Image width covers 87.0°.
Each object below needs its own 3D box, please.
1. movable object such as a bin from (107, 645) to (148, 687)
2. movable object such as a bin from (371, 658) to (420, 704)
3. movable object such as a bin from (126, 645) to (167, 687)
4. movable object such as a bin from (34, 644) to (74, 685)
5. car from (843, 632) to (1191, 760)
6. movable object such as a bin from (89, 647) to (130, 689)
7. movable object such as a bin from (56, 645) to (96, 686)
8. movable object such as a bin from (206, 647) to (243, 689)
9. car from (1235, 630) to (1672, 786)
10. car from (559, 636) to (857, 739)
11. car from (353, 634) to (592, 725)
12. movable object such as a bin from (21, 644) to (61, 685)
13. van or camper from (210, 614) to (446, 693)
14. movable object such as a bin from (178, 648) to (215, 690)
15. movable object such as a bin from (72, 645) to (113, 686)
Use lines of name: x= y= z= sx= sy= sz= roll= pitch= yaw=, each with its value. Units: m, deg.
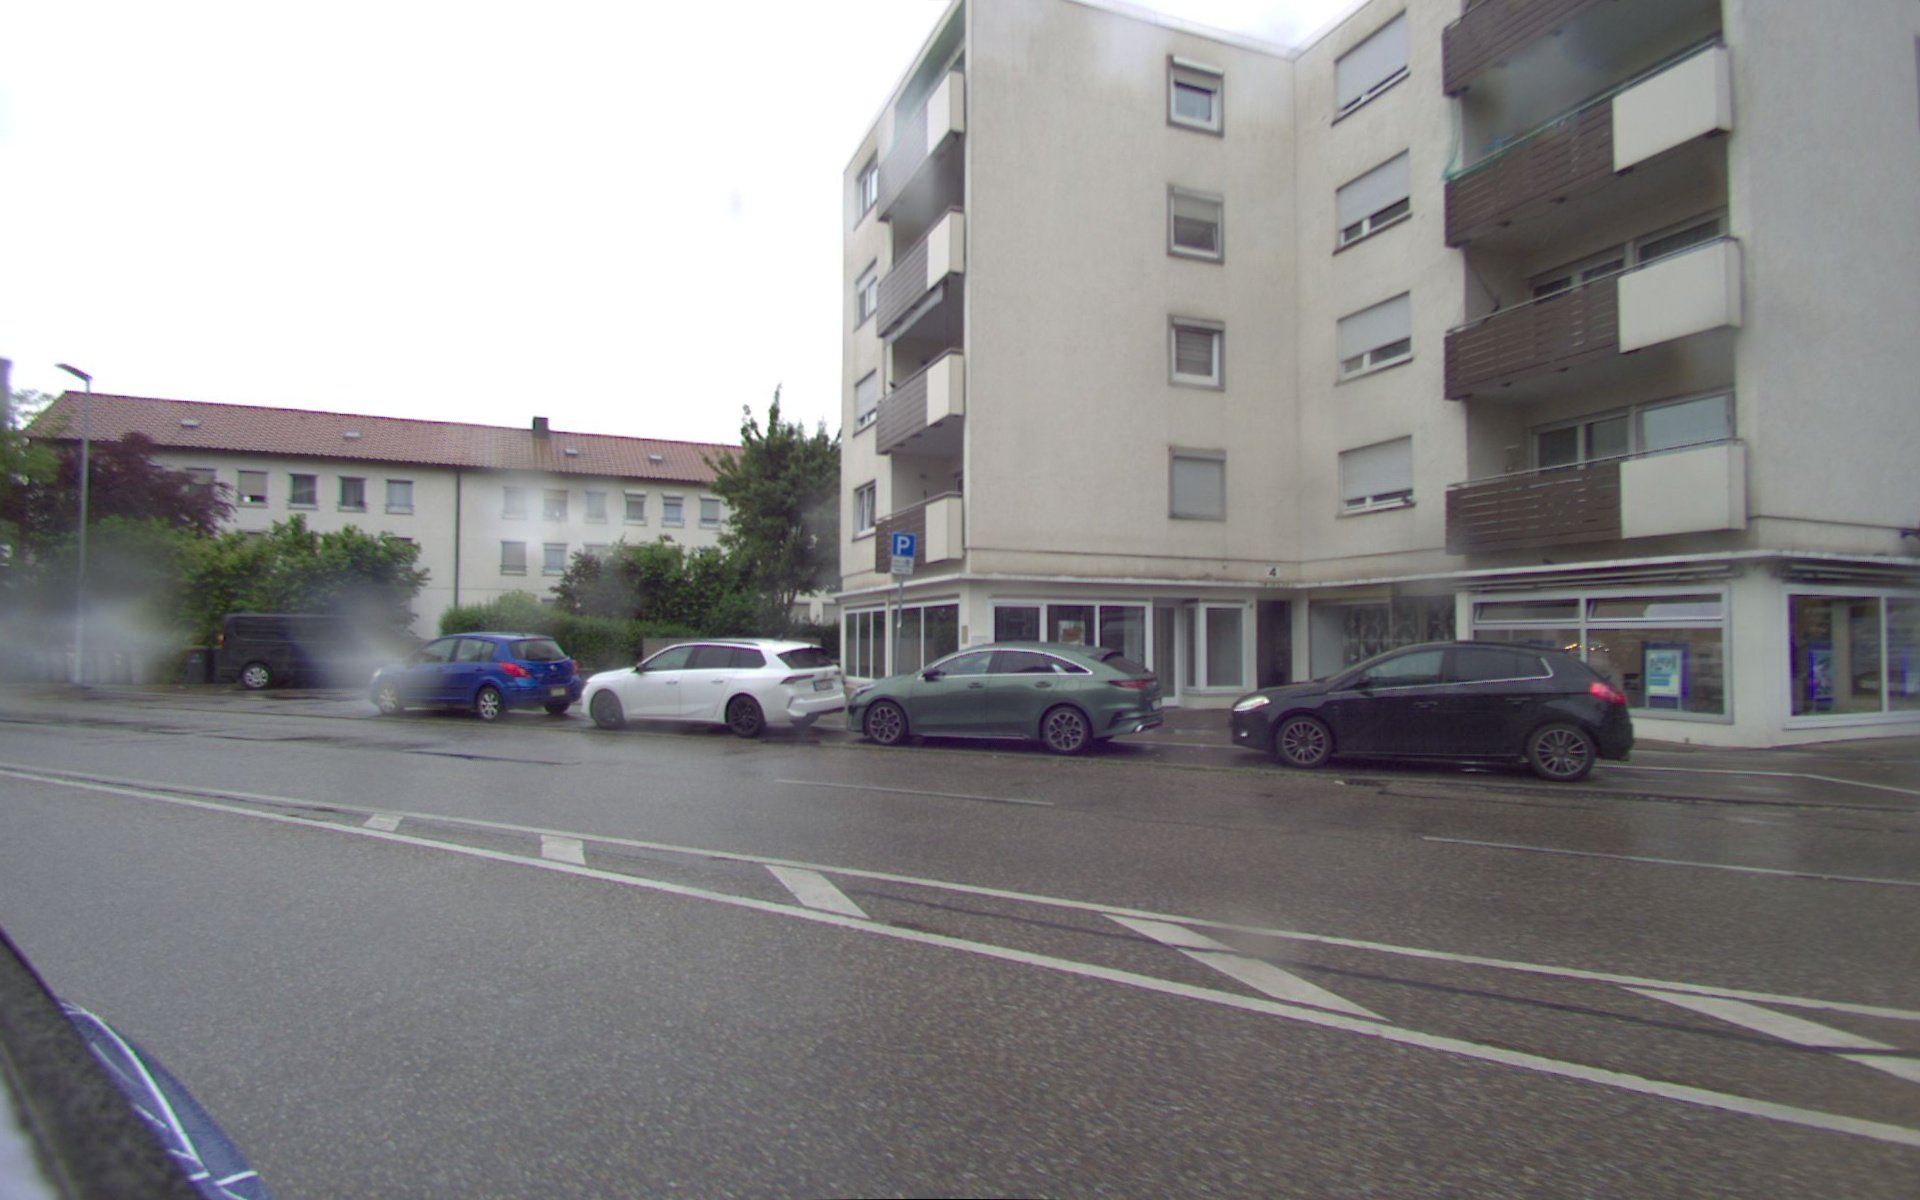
movable object such as a bin: x=-22.807 y=1.811 z=27.725 sx=0.595 sy=1.127 sz=0.599 roll=0 pitch=-3 yaw=11
movable object such as a bin: x=-12.336 y=1.752 z=22.127 sx=0.678 sy=0.973 sz=0.644 roll=-1 pitch=-3 yaw=24
movable object such as a bin: x=-22.197 y=1.792 z=27.613 sx=0.595 sy=1.127 sz=0.599 roll=0 pitch=-3 yaw=11
movable object such as a bin: x=-25.258 y=1.794 z=28.217 sx=0.597 sy=1.127 sz=0.597 roll=-1 pitch=-2 yaw=21
car: x=0.785 y=1.232 z=14.171 sx=4.494 sy=1.553 sz=1.925 roll=-1 pitch=-2 yaw=25
movable object such as a bin: x=-23.408 y=1.861 z=27.865 sx=0.595 sy=1.127 sz=0.599 roll=0 pitch=-3 yaw=11
movable object such as a bin: x=-24.604 y=1.816 z=28.173 sx=0.597 sy=1.127 sz=0.597 roll=-1 pitch=-2 yaw=21
movable object such as a bin: x=-20.294 y=1.866 z=27.940 sx=0.591 sy=1.127 sz=0.602 roll=1 pitch=-3 yaw=-12
car: x=5.556 y=1.137 z=11.891 sx=4.247 sy=1.553 sz=1.925 roll=-1 pitch=-2 yaw=25
car: x=-4.089 y=1.325 z=16.307 sx=4.656 sy=1.475 sz=1.685 roll=-1 pitch=-2 yaw=25
car: x=-9.046 y=1.398 z=18.758 sx=4.299 sy=1.532 sz=1.643 roll=-1 pitch=-2 yaw=25
movable object such as a bin: x=-25.830 y=1.796 z=28.452 sx=0.597 sy=1.127 sz=0.597 roll=-1 pitch=-2 yaw=21
van or camper: x=-16.896 y=1.409 z=27.403 sx=5.127 sy=1.940 sz=2.006 roll=0 pitch=-3 yaw=-20
movable object such as a bin: x=-20.946 y=1.883 z=27.786 sx=0.591 sy=1.127 sz=0.602 roll=1 pitch=-3 yaw=-12
movable object such as a bin: x=-23.998 y=1.810 z=28.002 sx=0.595 sy=1.127 sz=0.599 roll=0 pitch=-3 yaw=11
